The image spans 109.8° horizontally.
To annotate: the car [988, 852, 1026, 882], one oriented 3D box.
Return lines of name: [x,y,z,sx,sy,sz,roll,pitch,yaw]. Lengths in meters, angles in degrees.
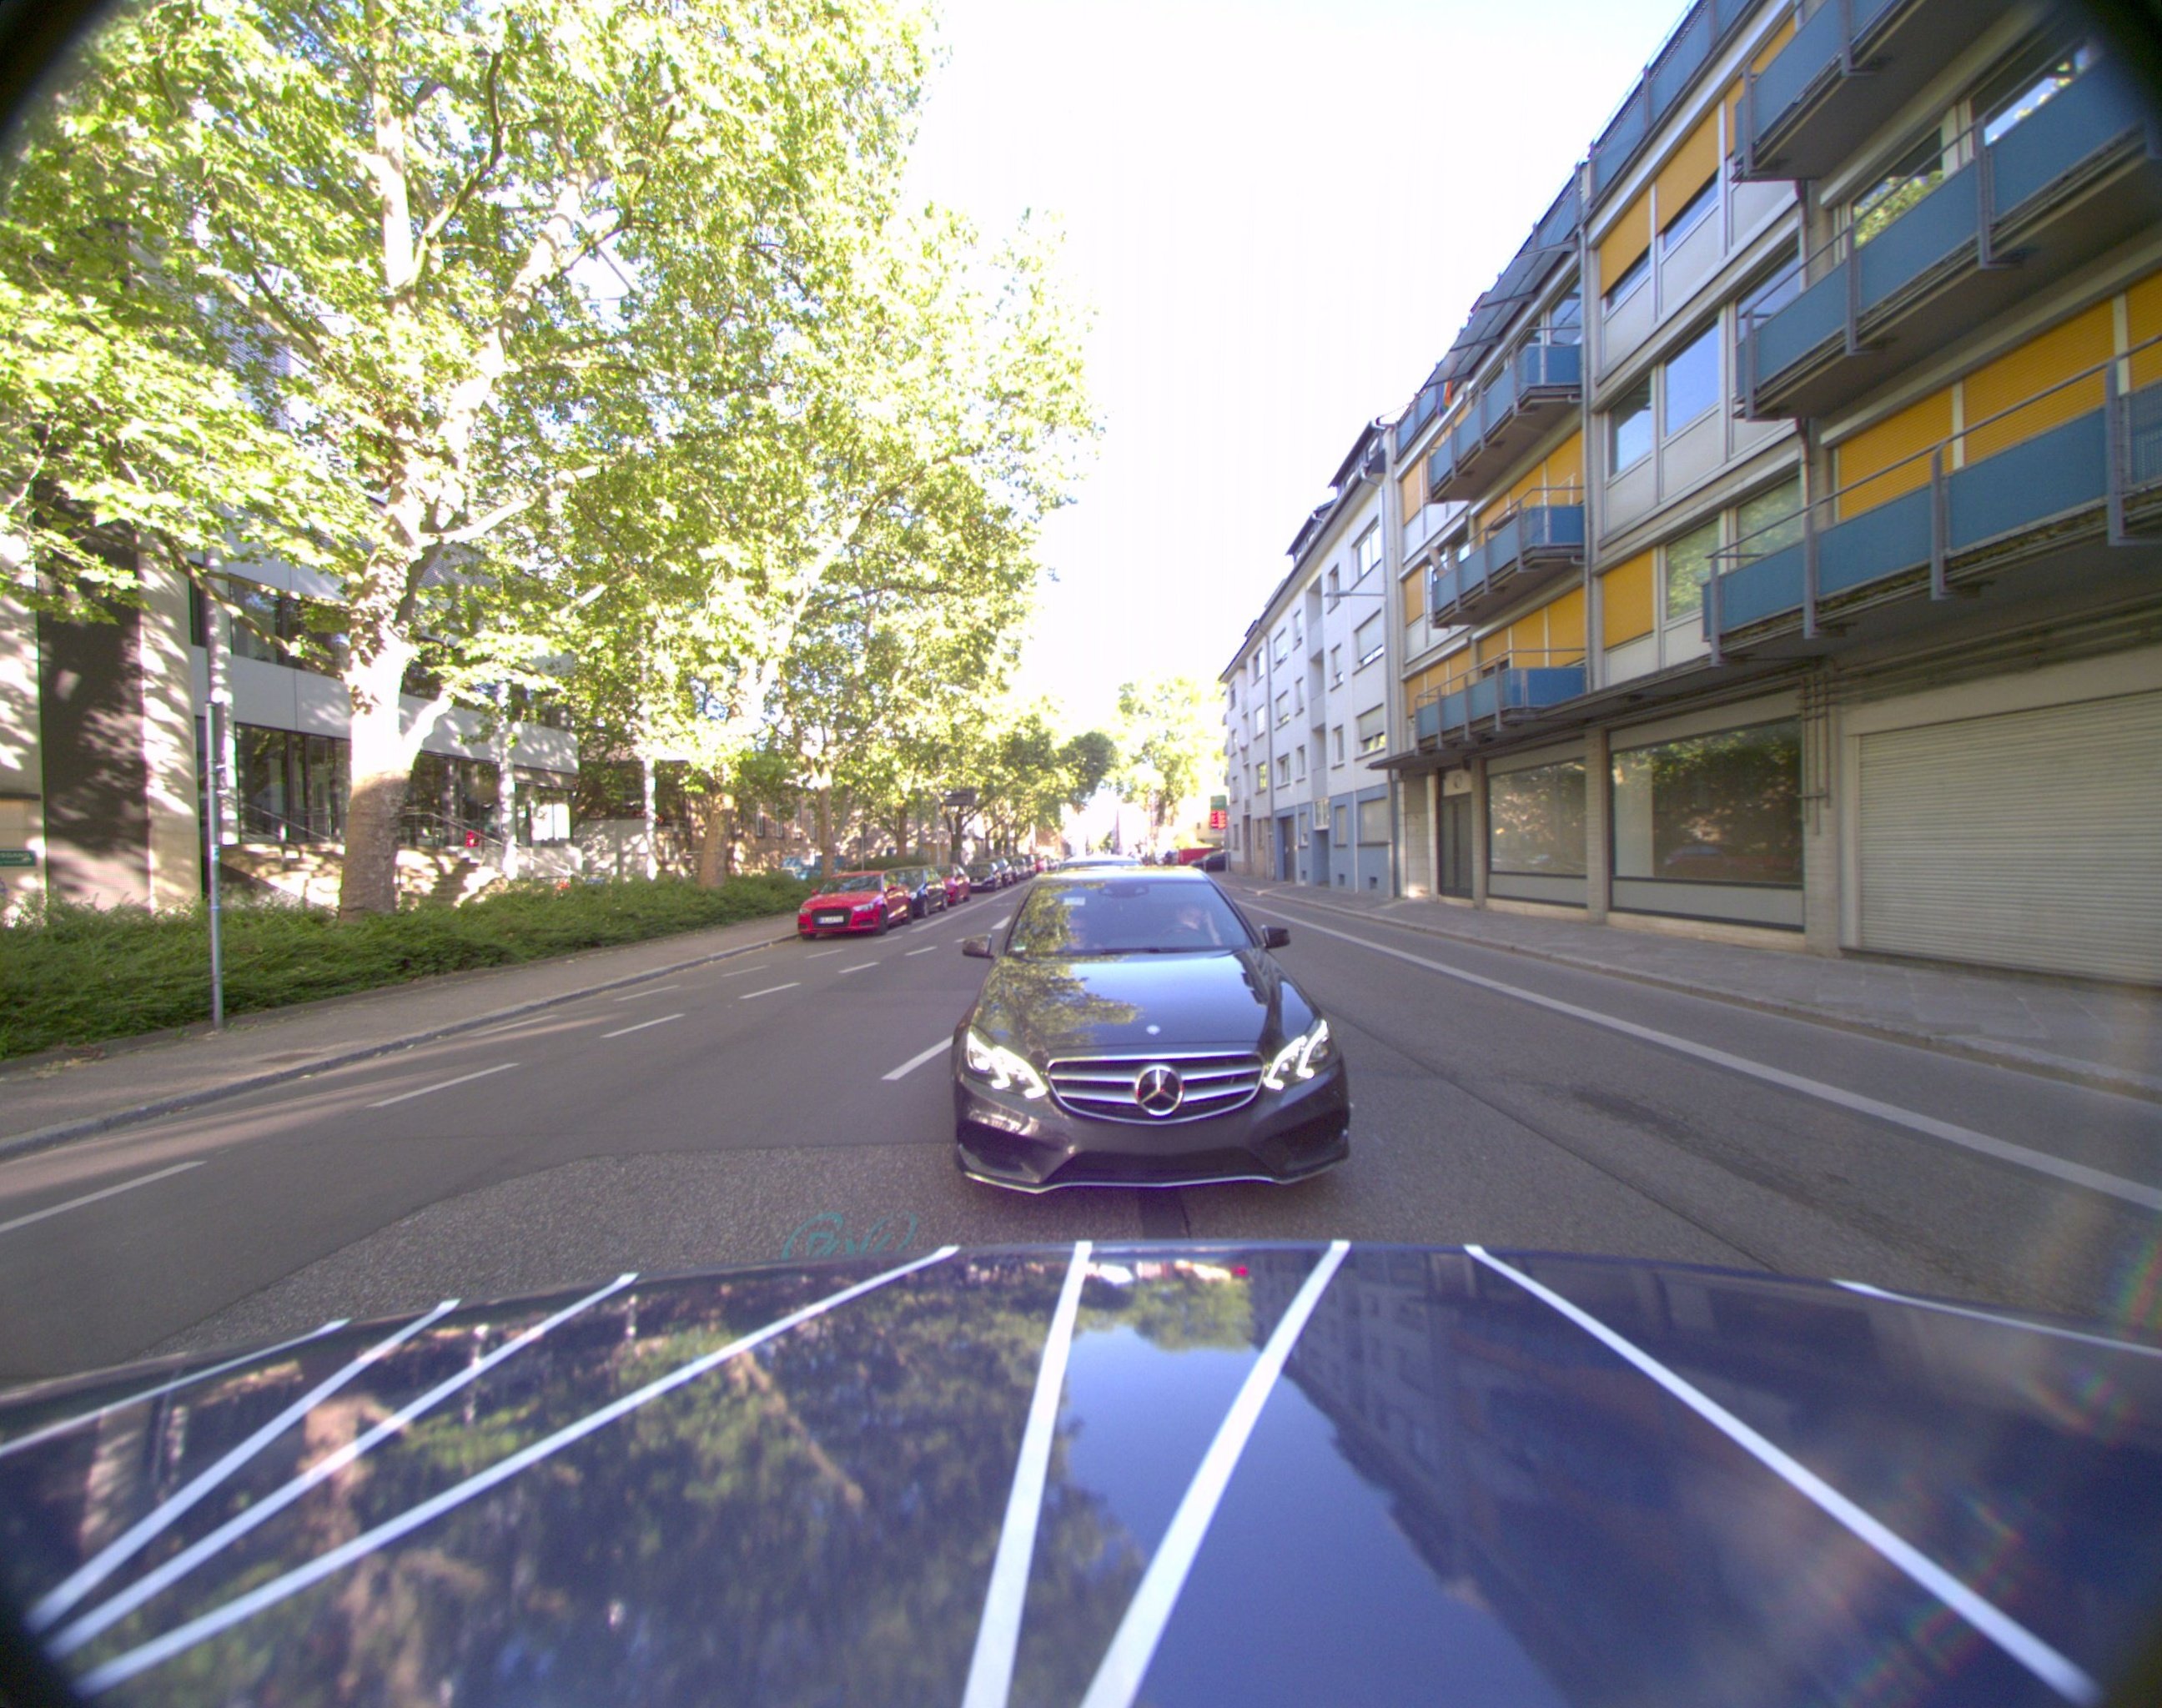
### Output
car: [-4.629,0.794,48.122,1.866,1.749,4.481,-2,0,1]

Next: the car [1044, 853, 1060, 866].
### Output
car: [-3.670,0.665,96.763,1.866,1.632,4.481,-2,0,1]

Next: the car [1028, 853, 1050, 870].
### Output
car: [-4.194,0.719,76.267,1.866,1.632,4.481,-2,0,1]

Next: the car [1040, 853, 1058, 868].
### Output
car: [-3.779,0.773,89.965,1.866,1.632,4.481,-2,0,1]

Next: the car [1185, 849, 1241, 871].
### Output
car: [10.179,0.436,58.859,3.996,1.543,2.000,-2,1,2]

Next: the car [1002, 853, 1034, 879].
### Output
car: [-4.499,0.830,54.788,1.866,1.749,4.481,-2,0,1]

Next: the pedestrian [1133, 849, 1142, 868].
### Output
pedestrian: [5.887,0.475,79.170,0.735,2.002,0.797,-2,1,1]

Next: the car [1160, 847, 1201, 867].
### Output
car: [10.465,0.324,79.986,3.996,1.936,2.000,-2,1,2]

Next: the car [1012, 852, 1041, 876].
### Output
car: [-4.241,0.768,59.744,1.866,1.749,4.481,-2,0,1]

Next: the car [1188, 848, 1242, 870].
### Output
car: [10.720,0.390,61.181,3.996,1.543,2.000,-2,1,2]

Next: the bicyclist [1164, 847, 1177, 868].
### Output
bicyclist: [6.381,0.255,54.308,0.755,1.442,0.796,-2,1,1]

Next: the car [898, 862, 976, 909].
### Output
car: [-5.084,1.072,27.414,1.866,1.442,4.481,-2,0,1]

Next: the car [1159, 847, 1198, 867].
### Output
car: [10.595,0.291,82.474,3.996,1.936,2.000,-2,1,2]

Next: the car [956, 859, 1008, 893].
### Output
car: [-4.752,1.033,37.160,1.866,1.442,4.481,-2,0,1]

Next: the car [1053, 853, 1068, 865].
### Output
car: [-2.834,0.664,105.172,1.866,1.632,4.481,-2,0,1]

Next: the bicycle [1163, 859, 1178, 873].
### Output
bicycle: [6.403,0.879,54.392,0.766,0.915,2.218,-2,1,1]

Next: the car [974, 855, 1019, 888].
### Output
car: [-4.617,0.916,42.195,1.866,1.658,4.481,-2,0,1]

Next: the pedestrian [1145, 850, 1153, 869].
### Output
pedestrian: [7.026,0.563,78.803,0.734,2.002,1.046,-2,1,3]

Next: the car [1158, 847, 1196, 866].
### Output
car: [10.740,0.258,84.968,3.996,1.936,2.000,-2,1,2]

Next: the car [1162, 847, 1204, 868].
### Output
car: [10.336,0.360,77.135,3.996,1.936,2.000,-2,1,2]

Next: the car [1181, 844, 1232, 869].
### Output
car: [10.552,0.168,64.012,3.996,1.936,2.000,-2,1,2]

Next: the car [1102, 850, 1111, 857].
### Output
car: [6.033,-0.146,180.696,1.866,1.632,4.481,-2,0,1]

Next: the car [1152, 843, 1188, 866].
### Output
car: [10.494,0.021,89.496,3.996,2.505,2.000,-2,1,2]

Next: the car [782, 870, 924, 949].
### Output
car: [-5.100,1.183,17.719,1.866,1.442,4.481,-2,0,1]

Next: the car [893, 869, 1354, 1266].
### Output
car: [0.208,0.936,5.396,1.866,1.492,4.481,-2,0,1]

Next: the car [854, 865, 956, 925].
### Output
car: [-5.040,1.130,22.370,1.866,1.442,4.481,-2,0,1]

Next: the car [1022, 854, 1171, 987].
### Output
car: [0.228,0.863,11.919,1.866,1.630,4.303,-2,0,1]
